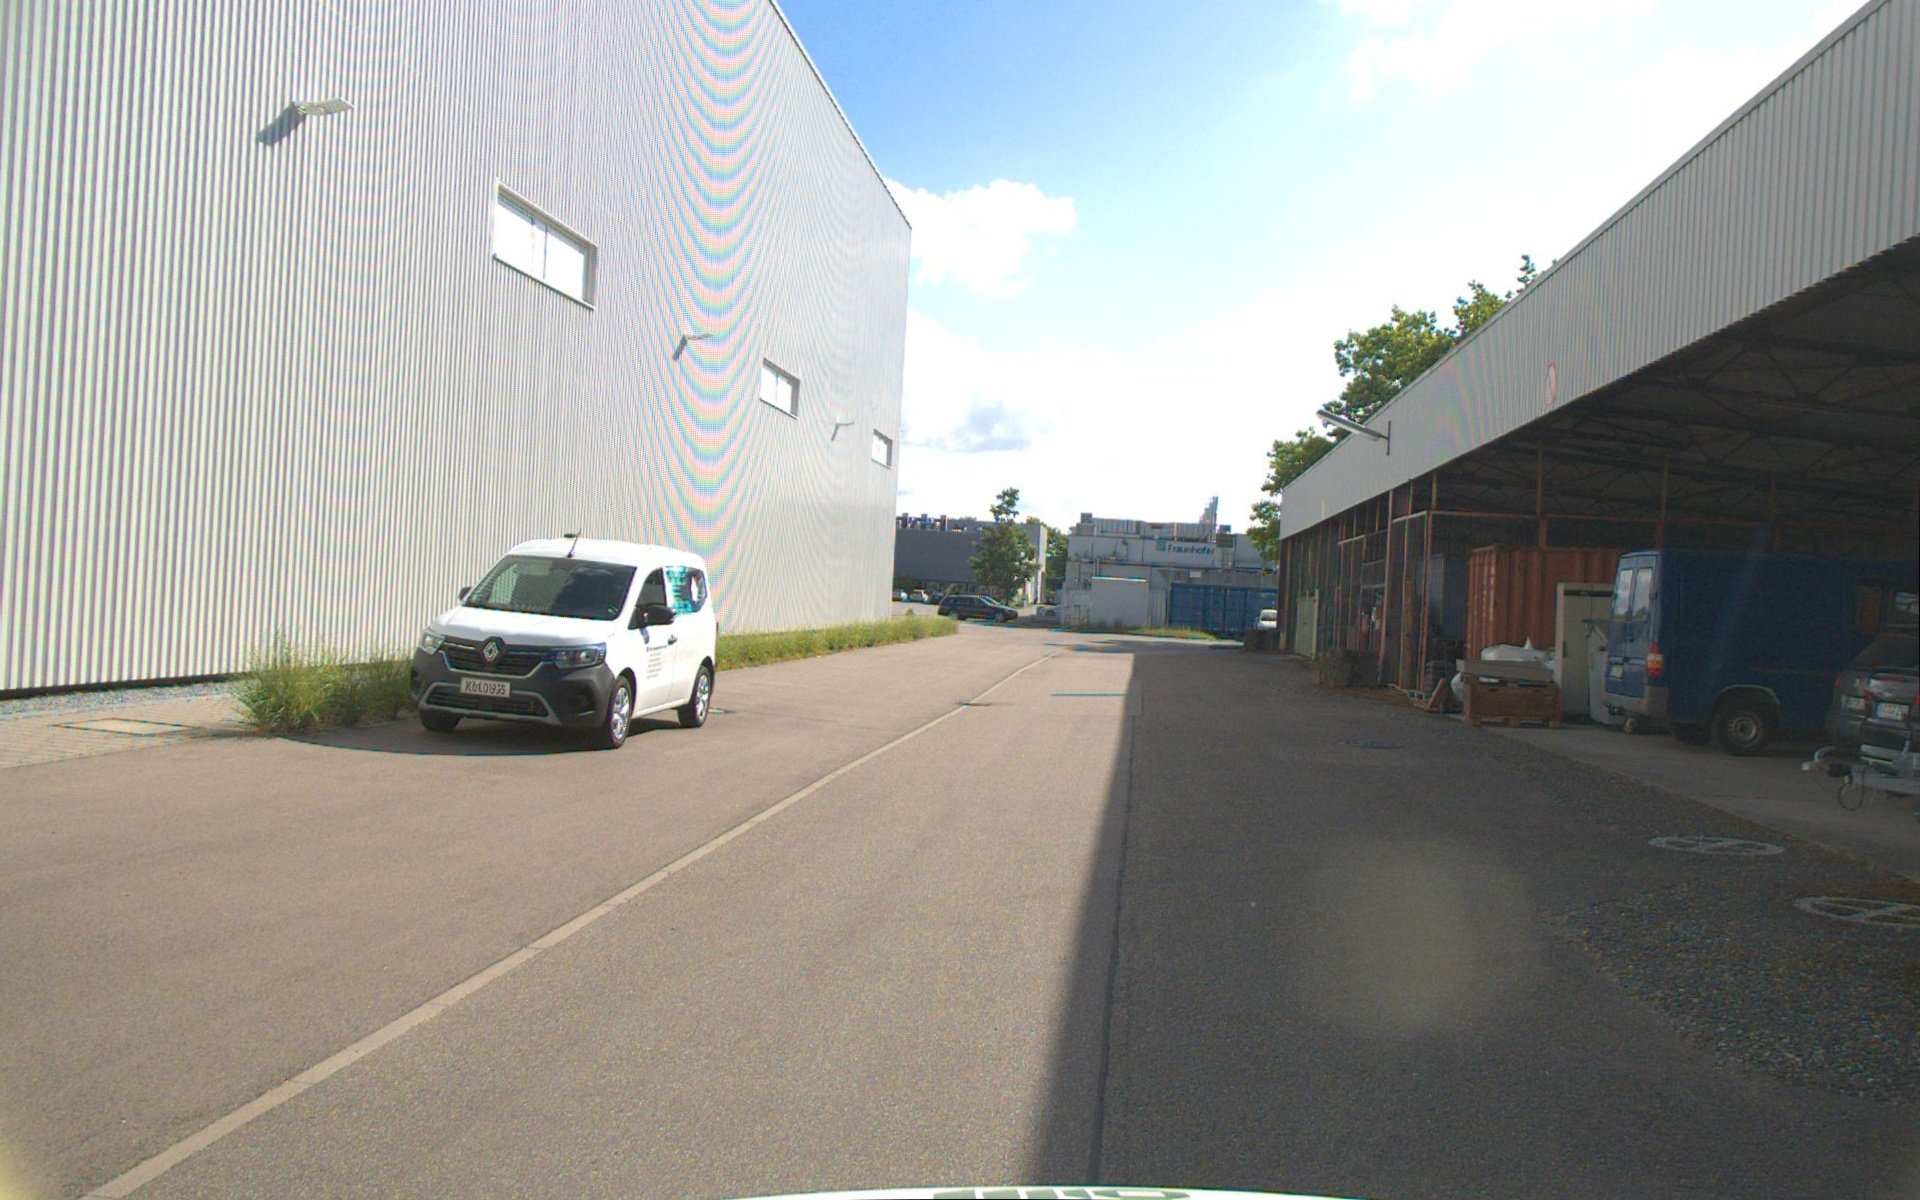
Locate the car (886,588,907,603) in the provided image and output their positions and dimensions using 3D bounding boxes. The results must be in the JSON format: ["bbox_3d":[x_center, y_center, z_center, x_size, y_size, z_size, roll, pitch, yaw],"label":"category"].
[{"bbox_3d":[-7.548,-0.508,196.268,1.951,1.766,4.002,1,0,6],"label":"car"}]

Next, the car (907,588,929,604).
[{"bbox_3d":[-4.994,-0.481,196.344,2.147,1.766,4.002,1,0,5],"label":"car"}]

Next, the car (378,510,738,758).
[{"bbox_3d":[-3.603,0.278,15.760,1.851,1.877,4.361,5,0,6],"label":"car"}]

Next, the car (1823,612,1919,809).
[{"bbox_3d":[9.654,0.949,13.493,4.238,1.522,1.778,2,0,4],"label":"car"}]

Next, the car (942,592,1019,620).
[{"bbox_3d":[1.254,0.343,101.199,4.430,1.534,1.910,2,0,8],"label":"car"}]

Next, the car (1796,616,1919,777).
[{"bbox_3d":[10.776,0.995,16.523,3.904,1.498,1.789,2,0,1],"label":"car"}]

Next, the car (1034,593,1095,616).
[{"bbox_3d":[7.911,0.316,125.011,4.430,1.534,1.910,3,0,7],"label":"car"}]

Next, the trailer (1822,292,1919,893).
[{"bbox_3d":[10.078,0.122,8.235,9.825,3.272,2.856,2,0,6],"label":"trailer"}]

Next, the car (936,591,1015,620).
[{"bbox_3d":[0.944,0.316,97.974,4.430,1.534,1.910,2,0,8],"label":"car"}]

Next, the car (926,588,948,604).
[{"bbox_3d":[-2.686,-0.472,194.379,2.147,1.766,4.002,1,0,5],"label":"car"}]

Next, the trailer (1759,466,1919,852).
[{"bbox_3d":[8.139,0.454,10.996,4.710,2.433,1.828,2,0,11],"label":"trailer"}]

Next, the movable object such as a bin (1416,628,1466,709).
[{"bbox_3d":[7.427,1.043,25.573,0.569,1.184,1.239,2,0,10],"label":"movable object such as a bin"}]

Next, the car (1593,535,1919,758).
[{"bbox_3d":[10.321,0.557,19.556,4.873,2.366,2.001,3,0,6],"label":"car"}]

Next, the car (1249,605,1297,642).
[{"bbox_3d":[15.779,1.177,83.568,1.951,1.613,4.176,3,2,6],"label":"car"}]
